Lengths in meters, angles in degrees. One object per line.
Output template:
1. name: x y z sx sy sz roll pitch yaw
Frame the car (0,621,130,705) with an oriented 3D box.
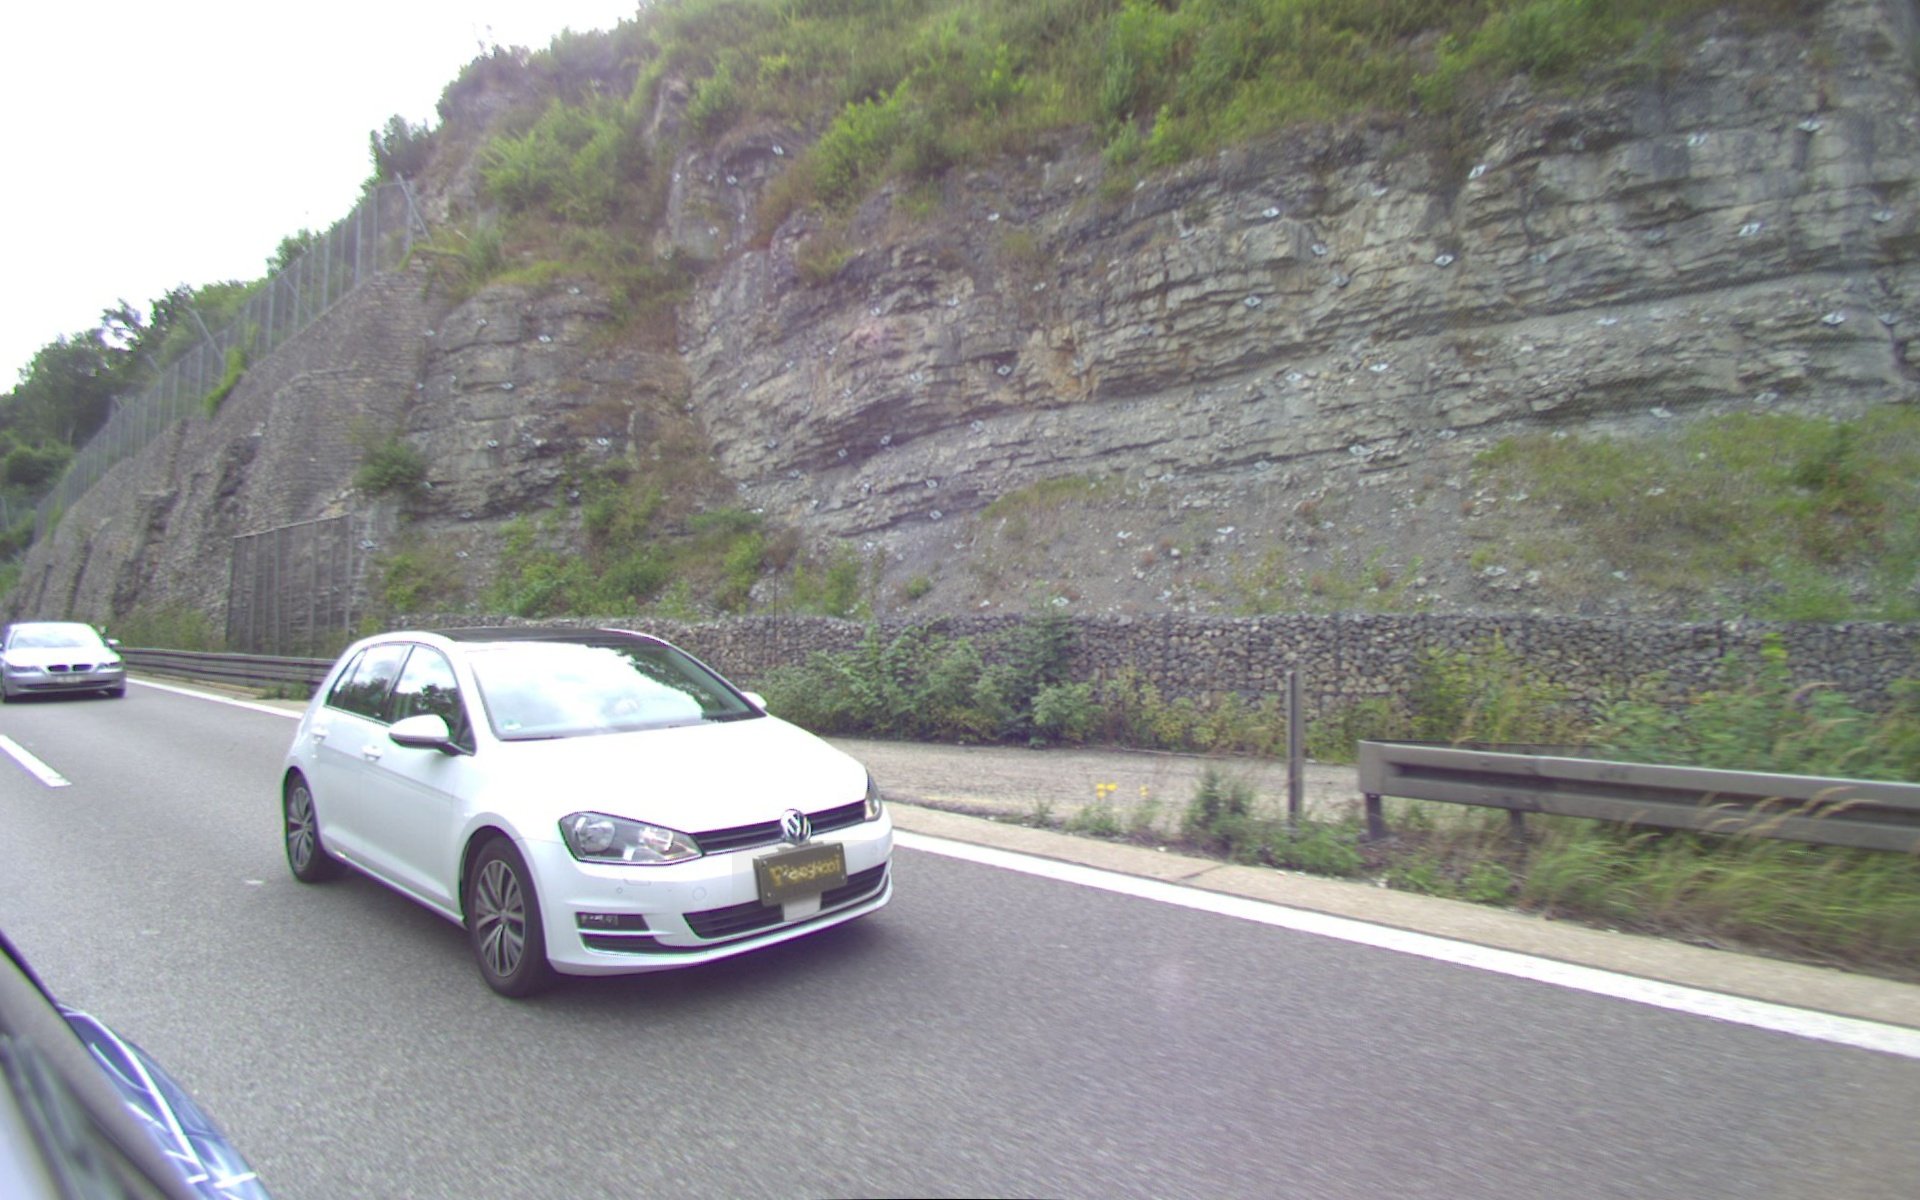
1. car: -18.297 1.191 20.300 5.133 1.468 1.808 -2 -2 42

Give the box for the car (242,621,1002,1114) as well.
1. car: -2.126 0.868 5.376 4.627 1.493 1.825 -1 -1 43
